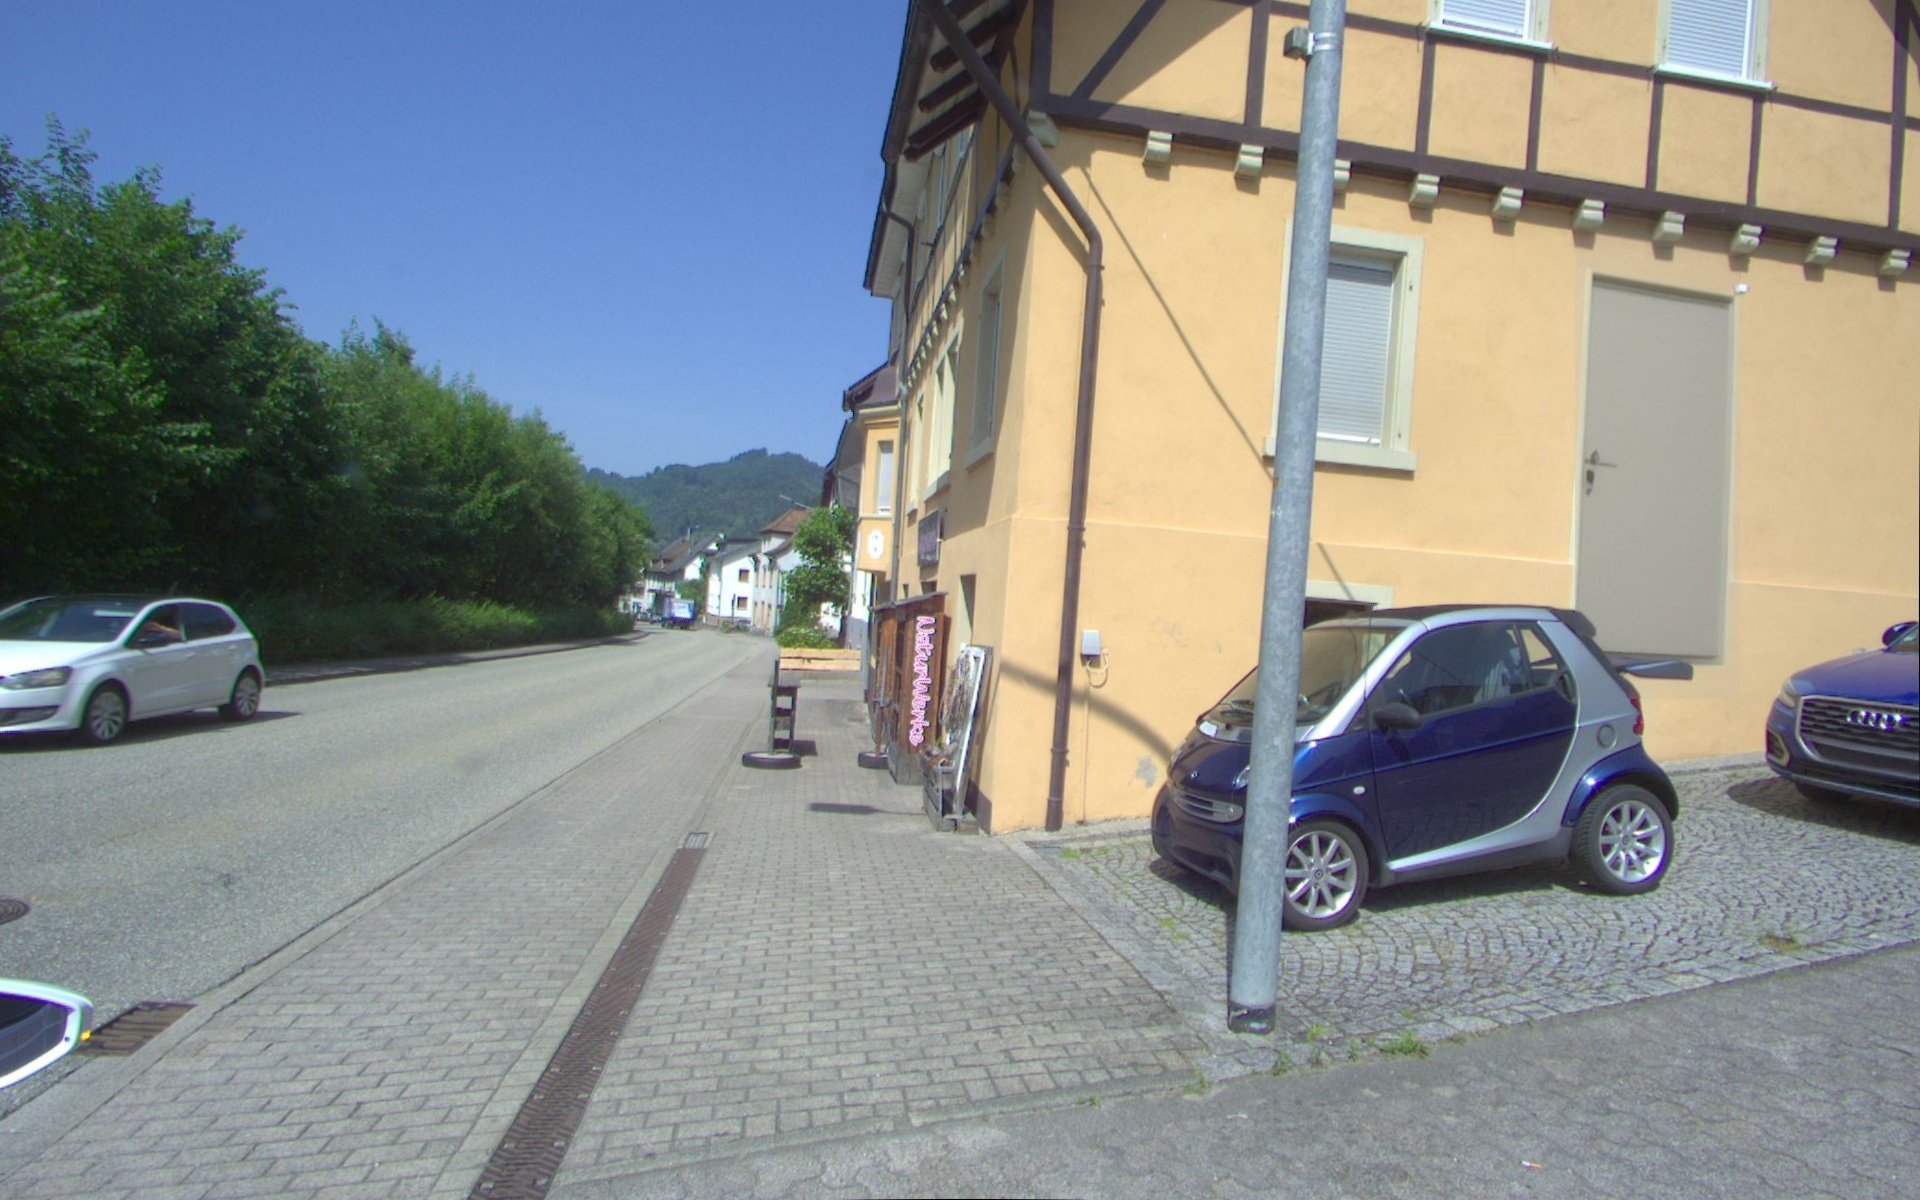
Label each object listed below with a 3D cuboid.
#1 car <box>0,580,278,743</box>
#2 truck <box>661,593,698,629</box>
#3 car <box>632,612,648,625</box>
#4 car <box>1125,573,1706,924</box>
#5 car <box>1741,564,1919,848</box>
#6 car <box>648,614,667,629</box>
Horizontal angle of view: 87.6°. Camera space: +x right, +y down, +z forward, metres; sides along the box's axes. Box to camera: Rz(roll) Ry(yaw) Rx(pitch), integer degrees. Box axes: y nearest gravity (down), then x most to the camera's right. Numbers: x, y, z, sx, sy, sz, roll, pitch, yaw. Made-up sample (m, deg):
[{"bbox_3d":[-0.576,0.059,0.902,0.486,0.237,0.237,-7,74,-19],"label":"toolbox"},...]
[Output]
[{"bbox_3d":[-9.067,0.592,10.554,1.579,1.423,3.827,2,-2,-9],"label":"car"},{"bbox_3d":[-31.634,1.320,112.603,3.317,3.830,8.422,0,-2,-20],"label":"truck"},{"bbox_3d":[-47.728,2.767,149.384,1.968,1.905,3.988,1,-2,-24],"label":"car"},{"bbox_3d":[2.465,0.714,5.682,2.613,1.556,1.424,-2,-1,-13],"label":"car"},{"bbox_3d":[7.393,0.631,6.439,3.863,1.646,1.733,0,0,-14],"label":"car"},{"bbox_3d":[-40.801,2.934,134.822,1.968,1.905,3.987,1,-2,-24],"label":"car"}]
